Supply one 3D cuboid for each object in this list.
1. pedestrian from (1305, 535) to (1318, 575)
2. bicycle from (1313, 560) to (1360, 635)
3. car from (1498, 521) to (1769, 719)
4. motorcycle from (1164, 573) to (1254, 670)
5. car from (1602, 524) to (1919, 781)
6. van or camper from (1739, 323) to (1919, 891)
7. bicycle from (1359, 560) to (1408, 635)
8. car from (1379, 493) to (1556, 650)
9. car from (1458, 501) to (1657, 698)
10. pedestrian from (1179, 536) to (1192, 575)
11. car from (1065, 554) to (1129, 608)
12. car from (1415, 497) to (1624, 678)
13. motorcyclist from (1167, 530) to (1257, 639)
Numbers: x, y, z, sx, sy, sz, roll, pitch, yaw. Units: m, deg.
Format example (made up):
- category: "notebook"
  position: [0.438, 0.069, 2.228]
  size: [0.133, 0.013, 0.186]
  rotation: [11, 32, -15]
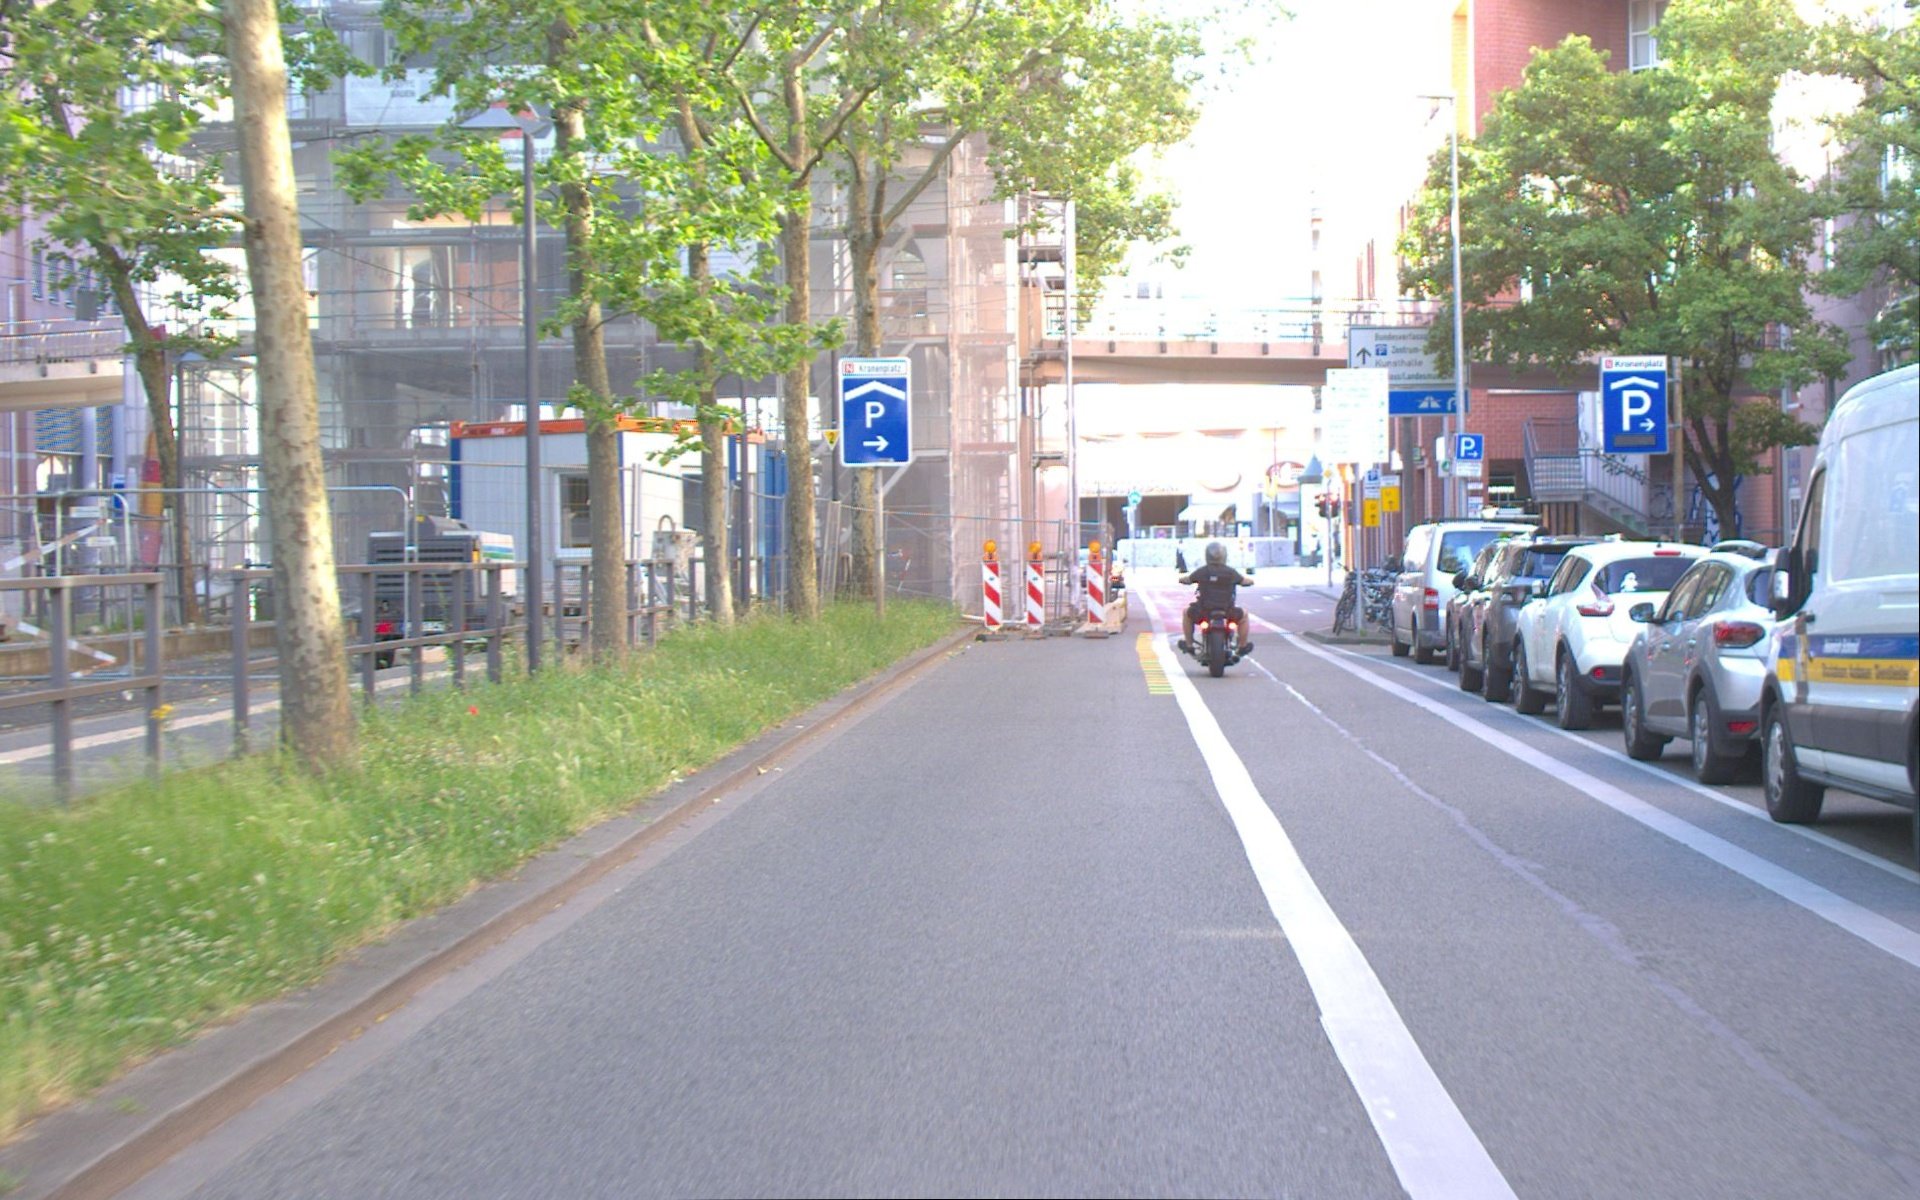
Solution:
- category: "pedestrian"
  position: [16.650, -2.151, 162.817]
  size: [0.541, 1.875, 0.529]
  rotation: [0, 1, 14]
- category: "bicycle"
  position: [6.378, -0.052, 58.309]
  size: [0.664, 1.230, 2.228]
  rotation: [-1, 1, 3]
- category: "car"
  position: [5.812, 0.133, 30.051]
  size: [1.620, 1.604, 3.774]
  rotation: [-1, 1, 0]
- category: "motorcycle"
  position: [2.970, 0.242, 40.872]
  size: [1.018, 1.093, 2.007]
  rotation: [0, 1, 5]
- category: "car"
  position: [5.542, 0.297, 23.431]
  size: [1.620, 1.598, 3.774]
  rotation: [-1, 1, 0]
- category: "van or camper"
  position: [5.339, 0.002, 16.497]
  size: [2.049, 2.532, 5.773]
  rotation: [-1, 1, 2]
- category: "bicycle"
  position: [7.161, -0.049, 58.237]
  size: [0.664, 1.230, 2.228]
  rotation: [-1, 1, 3]
- category: "car"
  position: [6.833, -0.407, 46.680]
  size: [1.835, 2.007, 4.388]
  rotation: [-1, 1, 1]
- category: "car"
  position: [5.959, -0.040, 34.616]
  size: [1.620, 1.859, 3.774]
  rotation: [-1, 1, 5]
- category: "pedestrian"
  position: [10.774, -2.137, 164.272]
  size: [0.541, 1.875, 0.529]
  rotation: [-1, 1, 8]
- category: "car"
  position: [4.496, -0.653, 113.367]
  size: [1.851, 1.711, 4.000]
  rotation: [-1, 1, -1]
- category: "car"
  position: [6.540, -0.178, 40.629]
  size: [1.835, 2.007, 4.388]
  rotation: [-1, 1, 1]
- category: "motorcyclist"
  position: [2.999, -0.189, 40.856]
  size: [1.012, 1.258, 0.774]
  rotation: [2, 1, 6]
